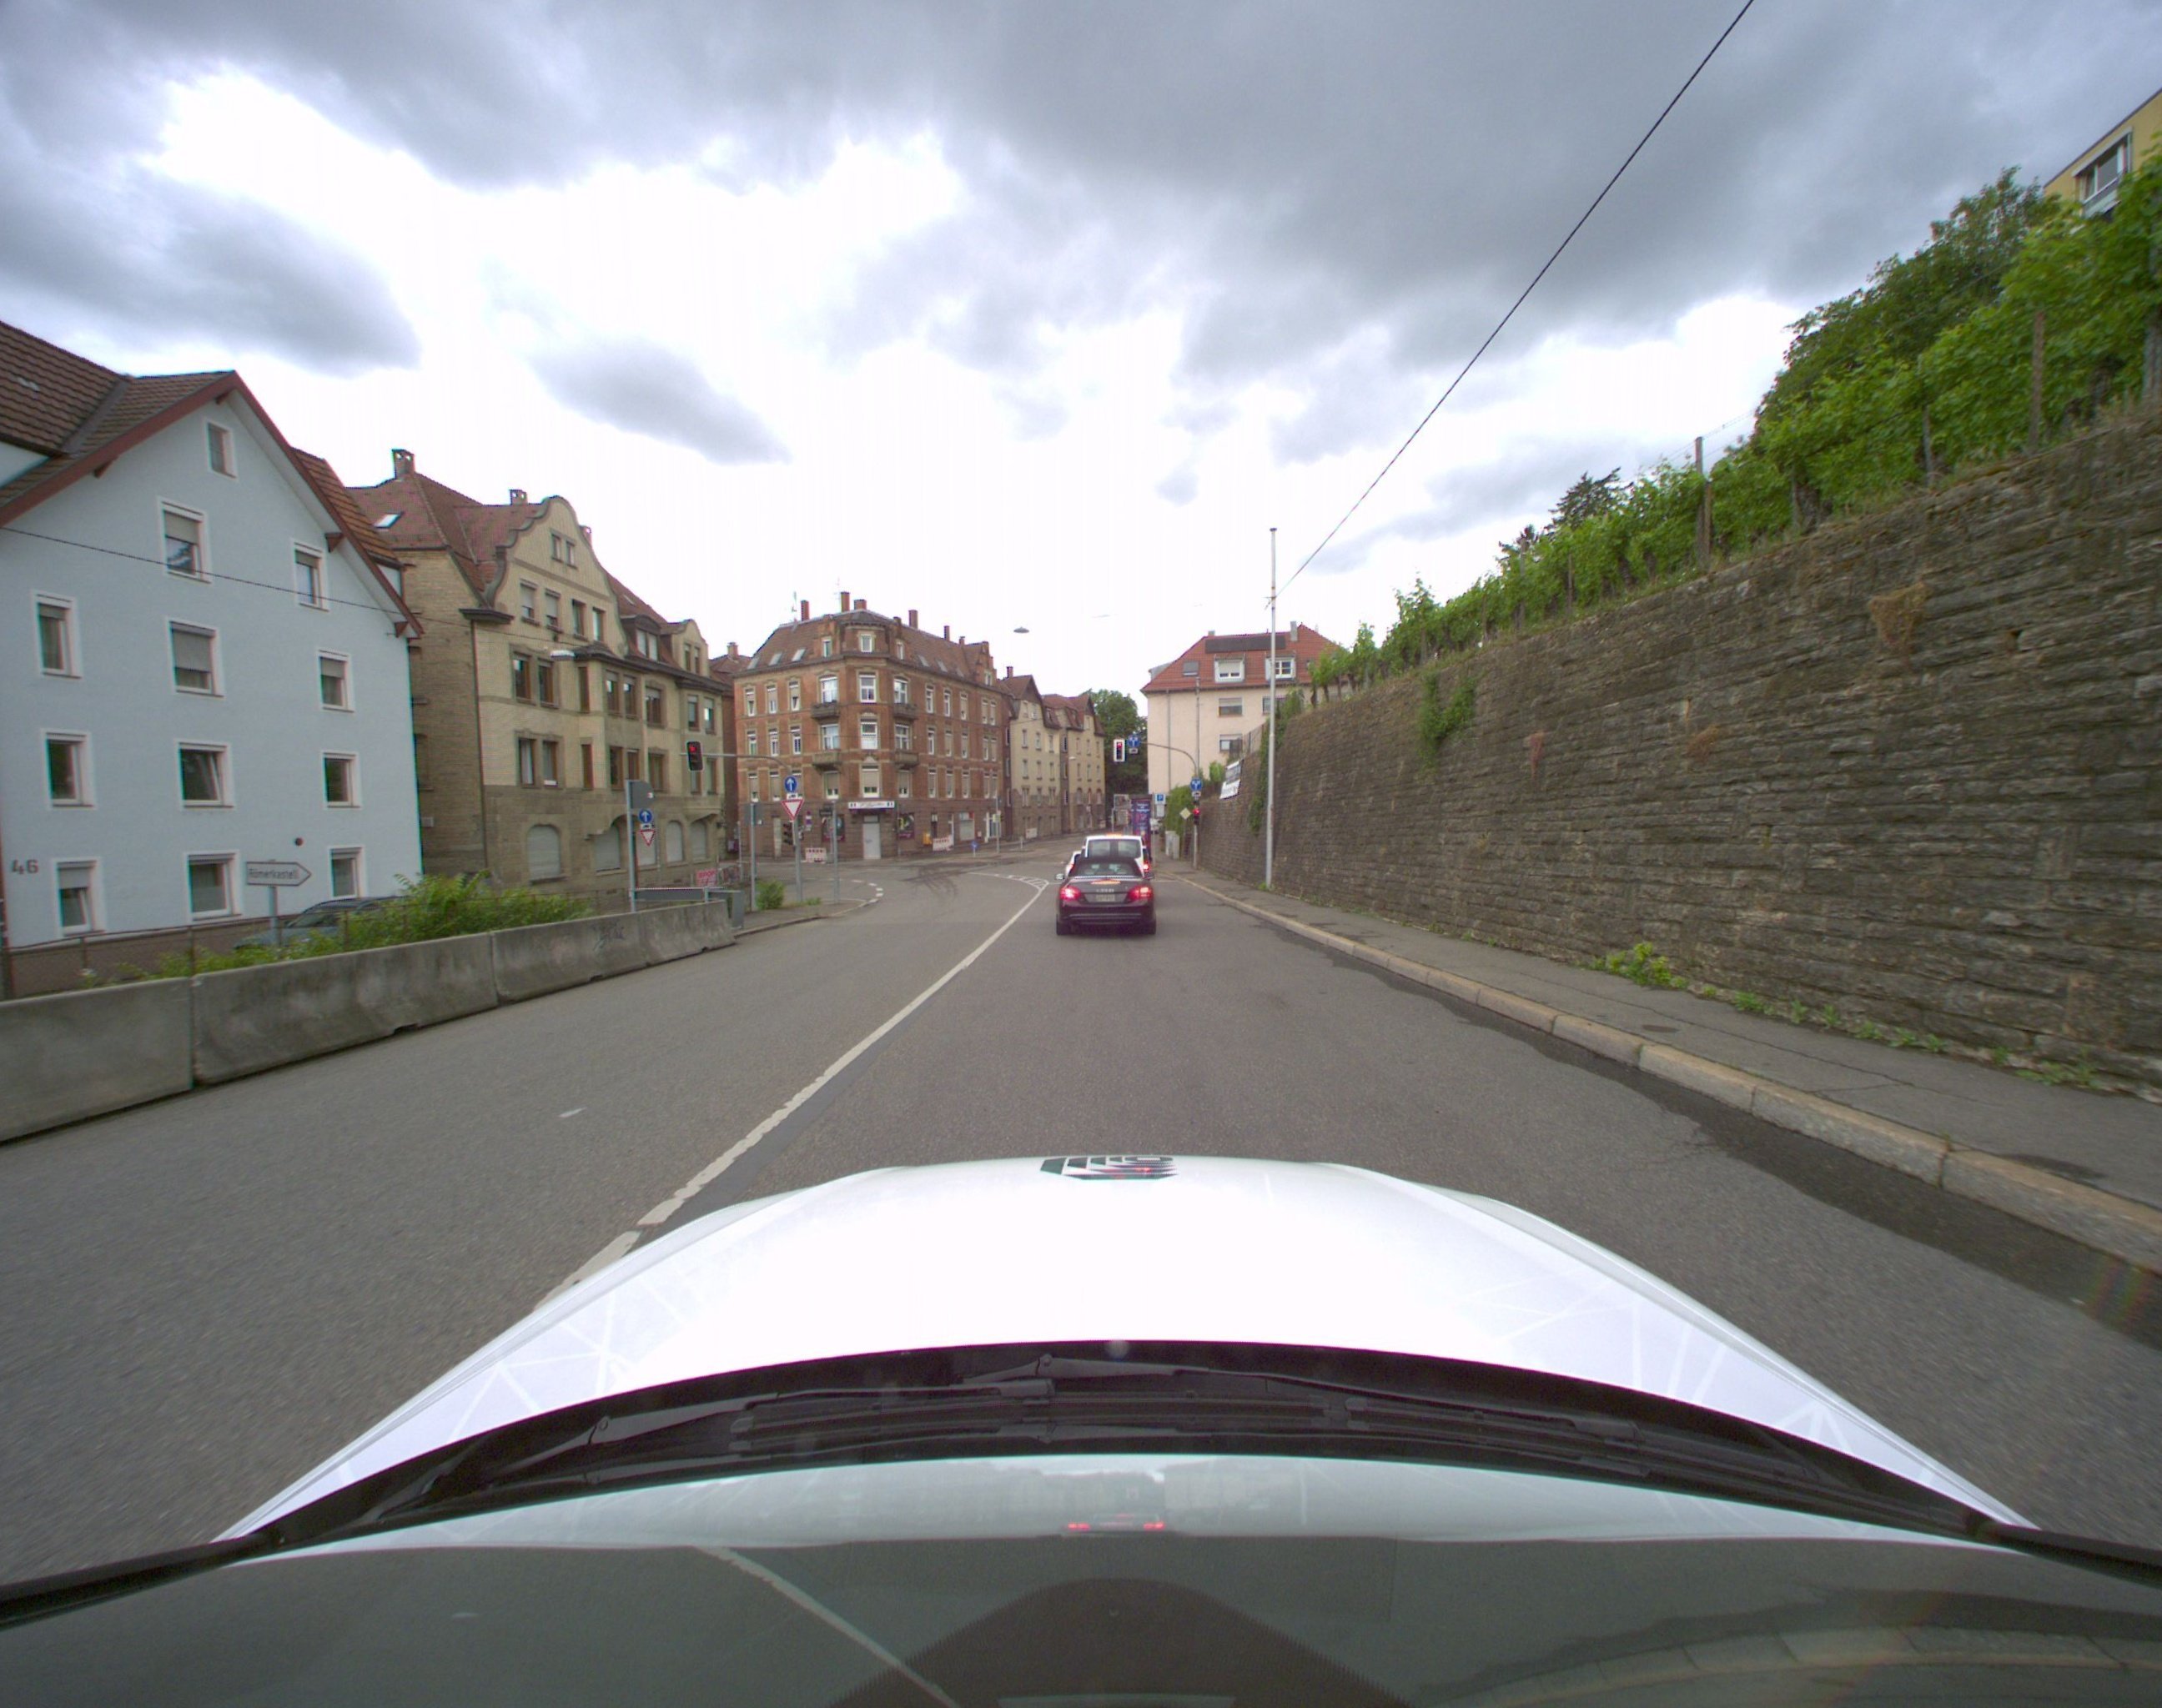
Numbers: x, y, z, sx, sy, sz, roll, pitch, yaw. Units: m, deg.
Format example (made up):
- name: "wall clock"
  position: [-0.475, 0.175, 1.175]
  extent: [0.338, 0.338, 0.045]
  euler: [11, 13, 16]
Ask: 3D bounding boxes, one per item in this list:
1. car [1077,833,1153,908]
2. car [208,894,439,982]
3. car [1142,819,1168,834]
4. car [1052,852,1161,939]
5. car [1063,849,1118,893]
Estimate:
- name: "car"
  position: [0.874, 0.415, 22.565]
  extent: [1.903, 1.884, 4.000]
  euler: [-1, 0, 0]
- name: "car"
  position: [-18.705, 1.996, 20.400]
  extent: [1.786, 1.608, 4.004]
  euler: [-4, 1, 3]
- name: "car"
  position: [8.397, -3.142, 92.445]
  extent: [1.825, 1.702, 4.023]
  euler: [-1, 2, 22]
- name: "car"
  position: [0.448, 0.685, 15.632]
  extent: [1.810, 1.430, 4.000]
  euler: [-1, 0, 0]
- name: "car"
  position: [0.339, 0.561, 29.259]
  extent: [1.835, 1.441, 4.000]
  euler: [-1, 1, 0]
